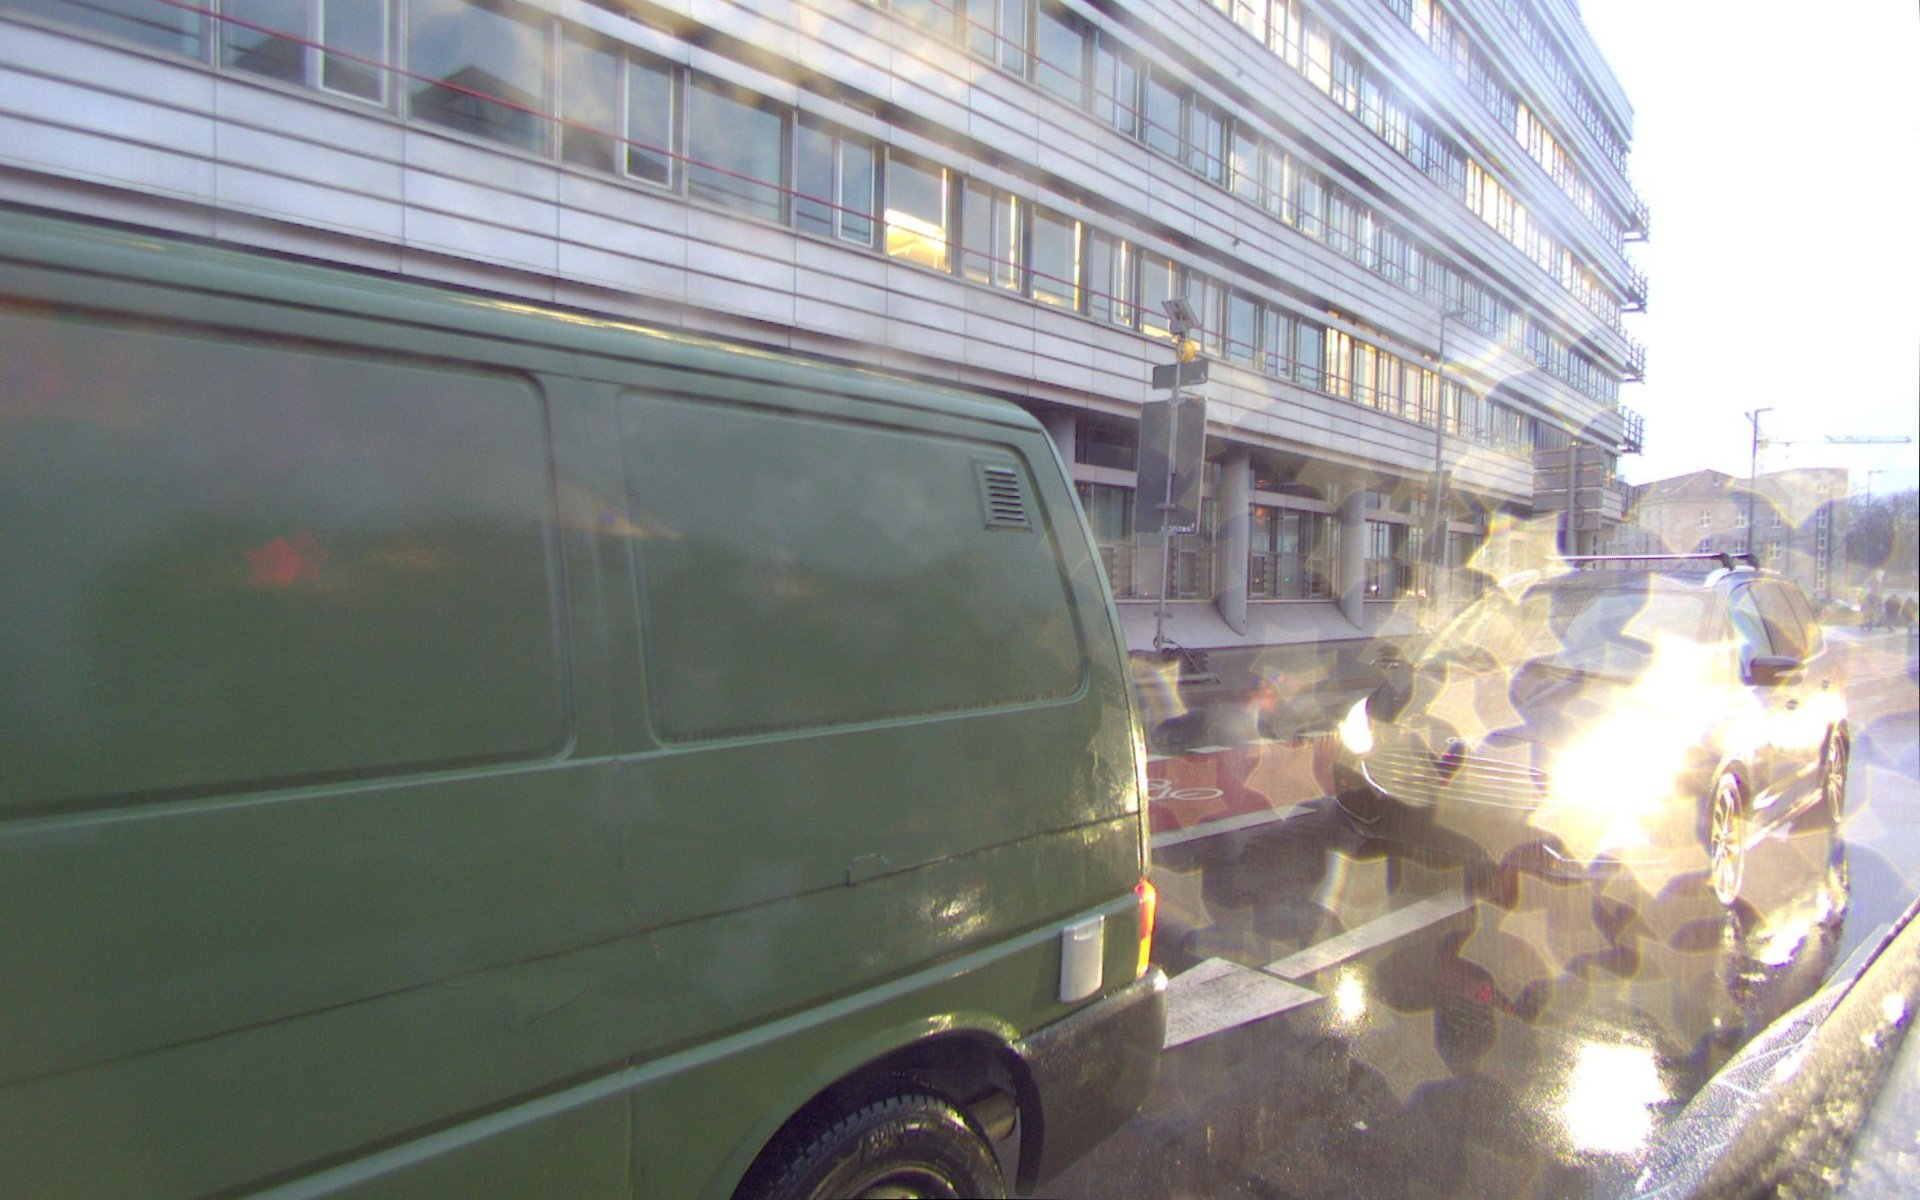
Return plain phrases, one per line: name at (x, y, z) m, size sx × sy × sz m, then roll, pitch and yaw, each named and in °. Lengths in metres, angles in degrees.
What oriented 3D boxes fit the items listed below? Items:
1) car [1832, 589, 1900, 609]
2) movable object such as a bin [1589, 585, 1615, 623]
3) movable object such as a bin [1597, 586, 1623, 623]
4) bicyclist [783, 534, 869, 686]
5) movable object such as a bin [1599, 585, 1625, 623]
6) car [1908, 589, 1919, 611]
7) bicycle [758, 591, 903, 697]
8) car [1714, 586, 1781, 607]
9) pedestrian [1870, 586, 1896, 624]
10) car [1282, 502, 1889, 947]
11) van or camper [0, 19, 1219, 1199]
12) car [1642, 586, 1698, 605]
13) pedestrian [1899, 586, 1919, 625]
car at (74.298, -0.110, 83.046) m, size 1.743 × 1.556 × 3.775 m, roll 1°, pitch 1°, yaw -24°
movable object such as a bin at (24.838, 0.152, 39.134) m, size 0.826 × 1.446 × 0.665 m, roll 0°, pitch 1°, yaw -44°
movable object such as a bin at (25.497, 0.168, 39.719) m, size 0.826 × 1.446 × 0.665 m, roll 0°, pitch 1°, yaw -44°
bicyclist at (-1.658, 0.104, 12.565) m, size 0.793 × 1.820 × 0.670 m, roll 0°, pitch 2°, yaw -45°
movable object such as a bin at (26.072, 0.166, 40.453) m, size 0.826 × 1.495 × 0.665 m, roll 0°, pitch 1°, yaw -44°
car at (76.586, 0.069, 78.574) m, size 1.743 × 1.730 × 3.932 m, roll 0°, pitch 1°, yaw -26°
bicycle at (-1.595, 0.504, 12.644) m, size 1.732 × 1.213 × 0.680 m, roll 0°, pitch 2°, yaw -45°
car at (71.073, -0.312, 91.395) m, size 1.958 × 1.782 × 4.386 m, roll 0°, pitch 1°, yaw -24°
pedestrian at (43.594, 0.221, 47.789) m, size 0.953 × 1.722 × 0.746 m, roll 0°, pitch 4°, yaw -44°
car at (4.153, 0.502, 6.370) m, size 4.587 × 1.834 × 1.887 m, roll 0°, pitch 0°, yaw -39°
van or camper at (-1.681, 0.457, 1.298) m, size 4.341 × 1.931 × 1.760 m, roll 0°, pitch 0°, yaw -41°
car at (68.620, -0.461, 97.831) m, size 1.958 × 1.693 × 4.013 m, roll 0°, pitch 1°, yaw -24°
pedestrian at (43.789, 0.236, 46.617) m, size 0.870 × 1.723 × 0.650 m, roll 0°, pitch 3°, yaw -44°
